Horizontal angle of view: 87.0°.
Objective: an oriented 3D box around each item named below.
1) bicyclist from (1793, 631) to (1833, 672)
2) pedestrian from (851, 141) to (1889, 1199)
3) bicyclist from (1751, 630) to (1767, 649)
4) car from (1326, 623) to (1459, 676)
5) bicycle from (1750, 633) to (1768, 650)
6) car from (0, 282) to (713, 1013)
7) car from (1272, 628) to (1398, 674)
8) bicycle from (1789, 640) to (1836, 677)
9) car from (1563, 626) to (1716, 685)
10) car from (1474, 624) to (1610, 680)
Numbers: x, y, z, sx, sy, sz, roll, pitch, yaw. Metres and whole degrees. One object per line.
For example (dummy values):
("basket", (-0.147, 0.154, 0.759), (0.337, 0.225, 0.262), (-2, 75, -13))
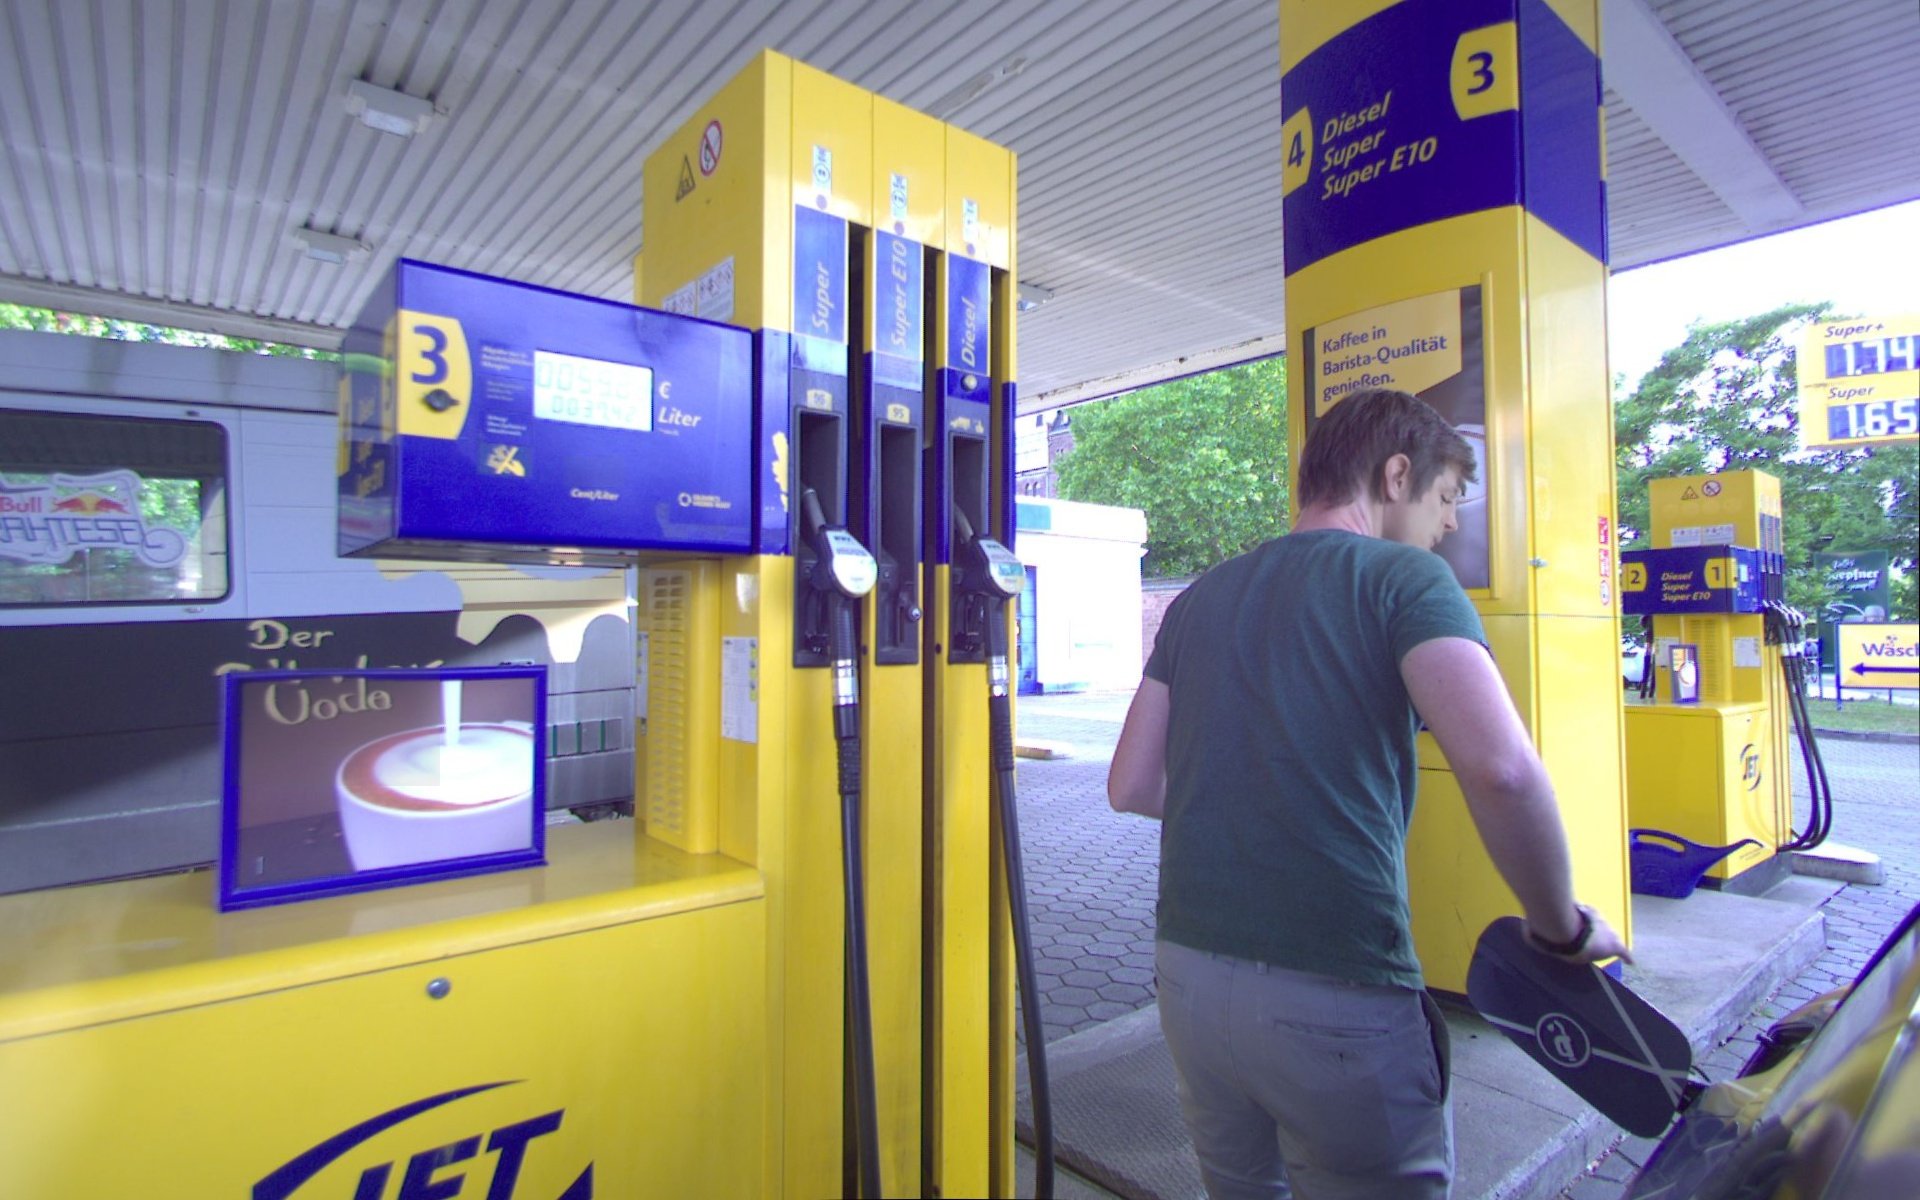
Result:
("bicyclist", (31.577, 1.901, 37.492), (0.844, 1.441, 1.028), (-2, -1, 26))
("pedestrian", (0.606, 0.510, 1.524), (1.161, 1.750, 0.993), (-2, 1, -38))
("bicyclist", (65.194, 3.188, 82.590), (0.783, 1.469, 1.165), (0, 0, 26))
("car", (13.775, 1.567, 32.176), (4.112, 1.606, 1.826), (2, -3, -31))
("bicycle", (65.164, 3.379, 82.527), (0.783, 1.255, 1.866), (0, 0, 26))
("car", (-4.103, 0.188, 4.861), (5.248, 2.760, 2.201), (0, -1, -39))
("car", (12.636, 1.698, 34.039), (4.112, 1.453, 1.826), (2, -3, -31))
("bicycle", (31.603, 2.166, 37.551), (0.844, 1.255, 1.866), (-2, -1, 26))
("car", (18.248, 1.486, 27.141), (4.112, 1.478, 1.826), (2, -3, -31))
("car", (17.764, 1.577, 30.857), (4.112, 1.606, 1.826), (2, -3, -31))
